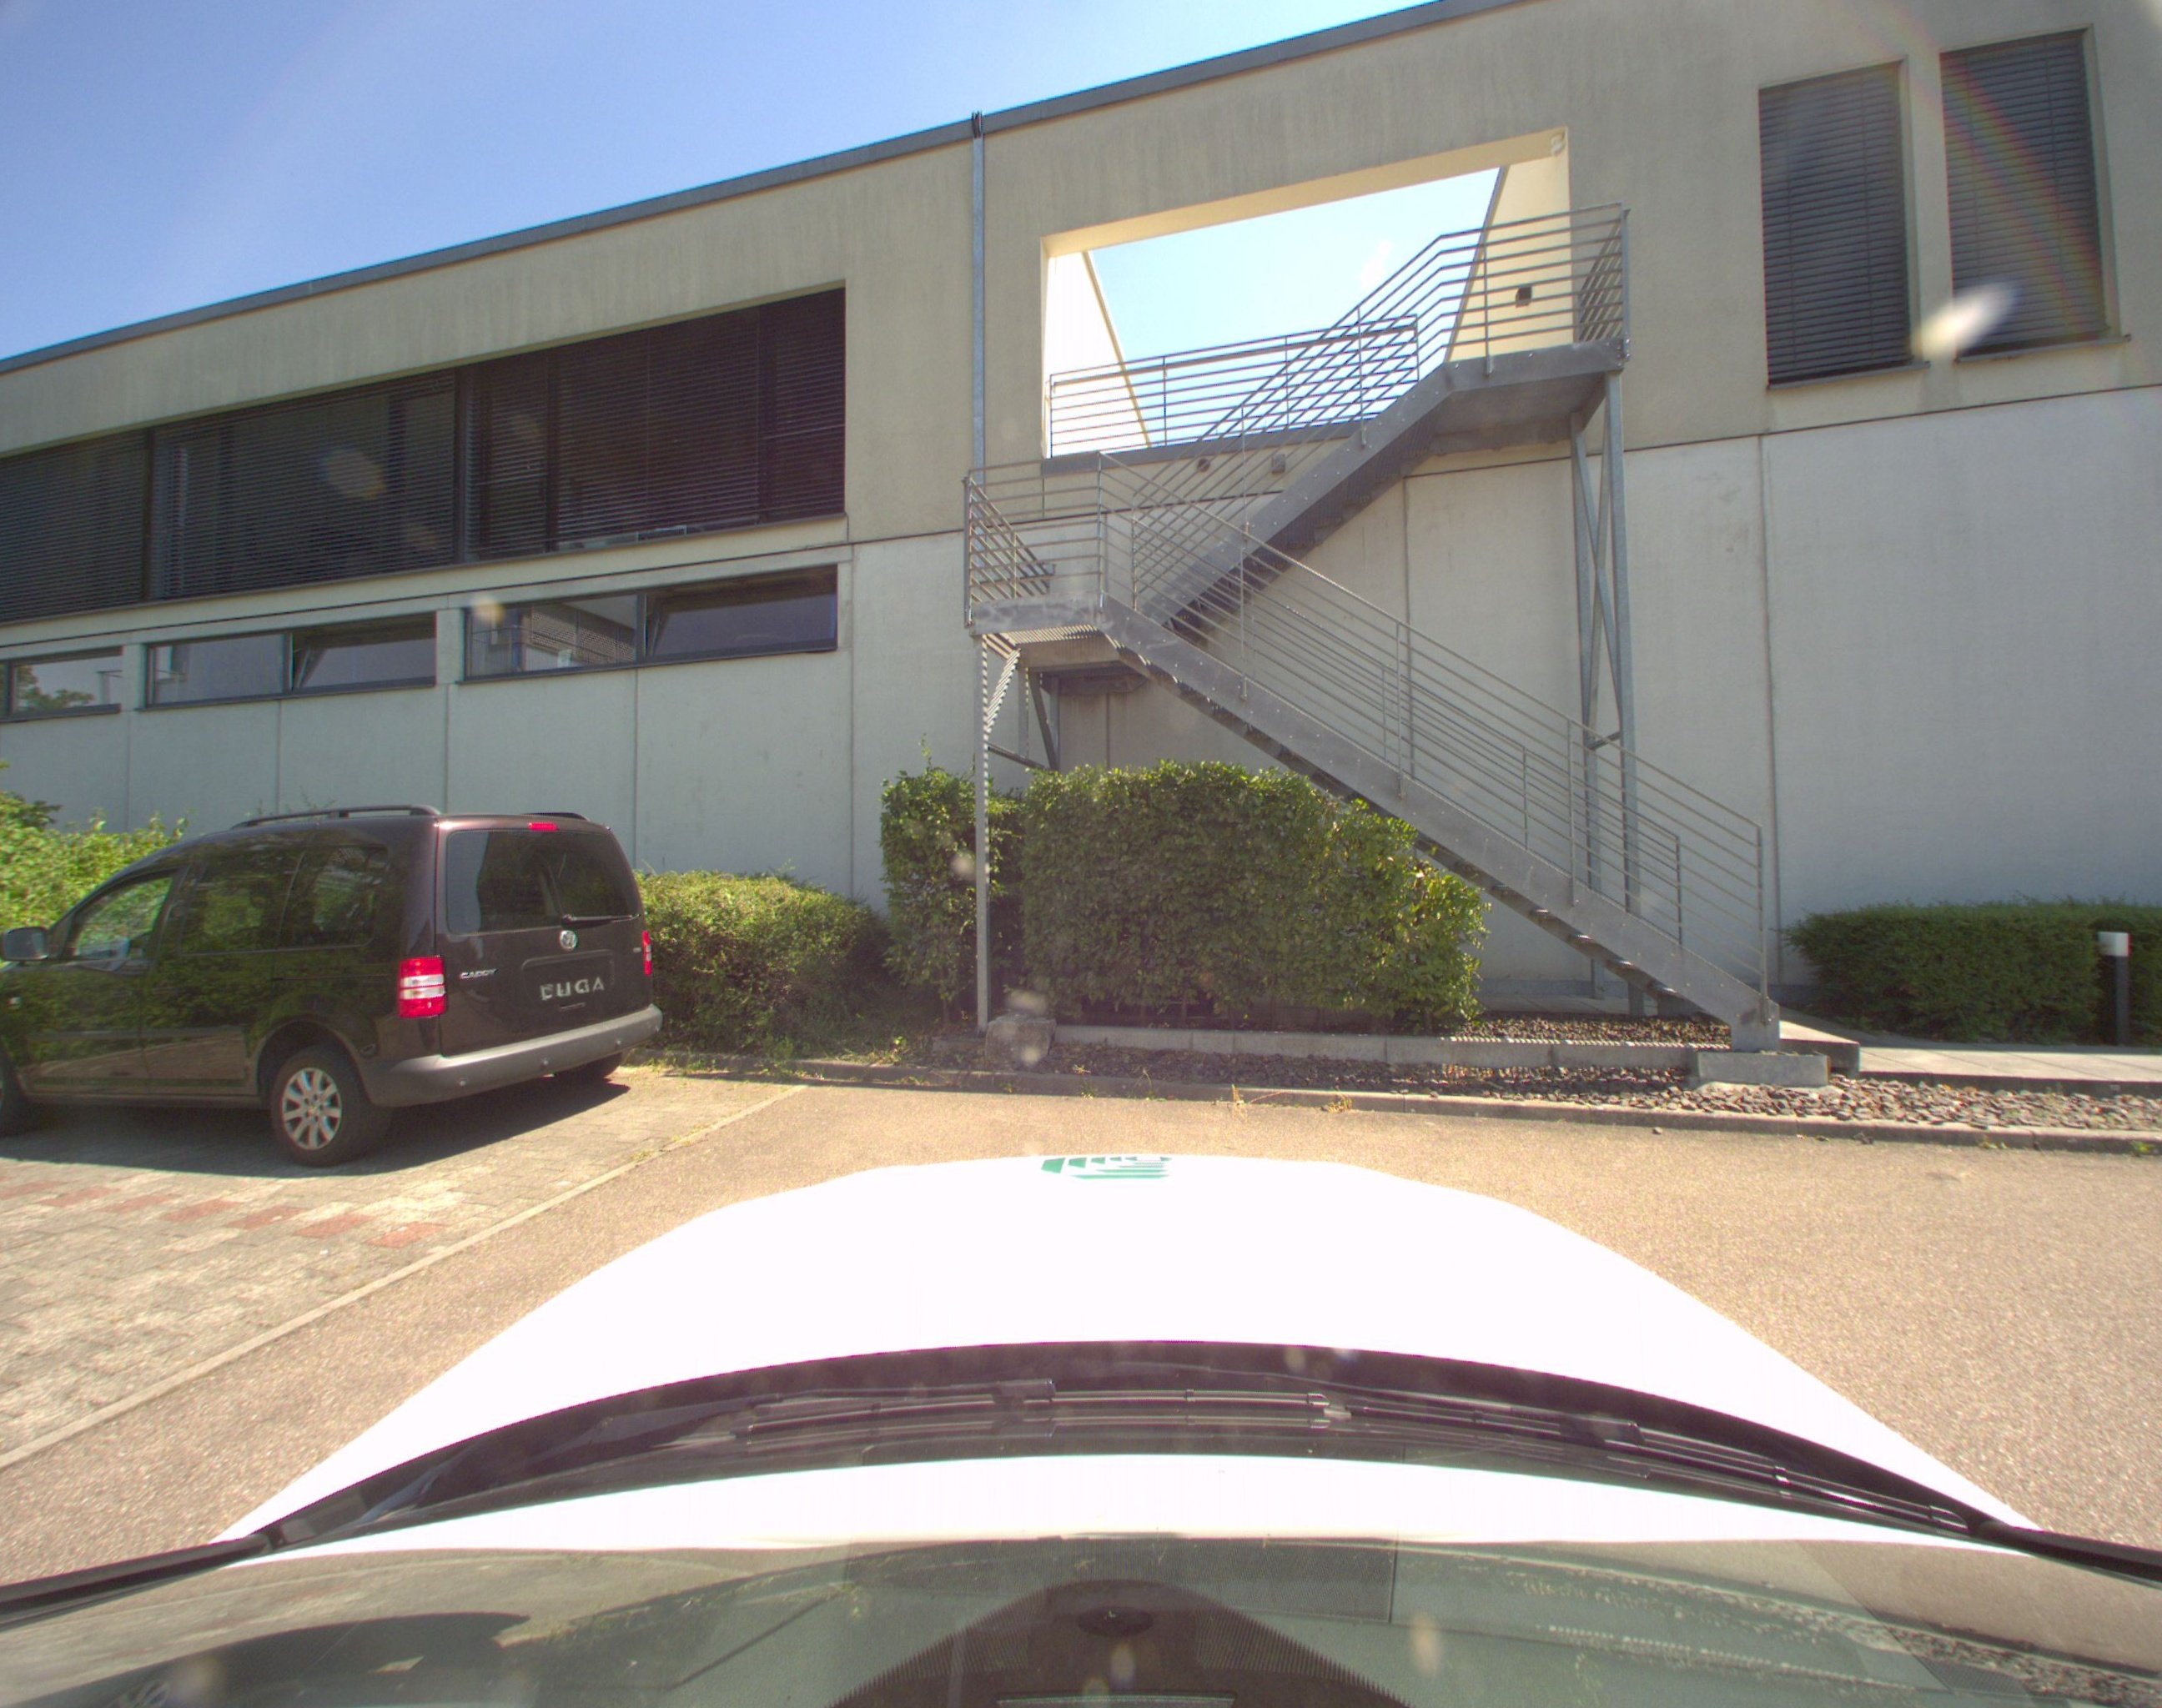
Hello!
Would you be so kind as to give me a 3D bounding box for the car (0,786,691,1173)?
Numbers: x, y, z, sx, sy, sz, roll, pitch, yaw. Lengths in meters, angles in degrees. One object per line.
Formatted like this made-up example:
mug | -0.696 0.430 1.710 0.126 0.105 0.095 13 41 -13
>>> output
car | -4.860 0.648 5.292 4.028 1.884 1.685 -1 -1 15
